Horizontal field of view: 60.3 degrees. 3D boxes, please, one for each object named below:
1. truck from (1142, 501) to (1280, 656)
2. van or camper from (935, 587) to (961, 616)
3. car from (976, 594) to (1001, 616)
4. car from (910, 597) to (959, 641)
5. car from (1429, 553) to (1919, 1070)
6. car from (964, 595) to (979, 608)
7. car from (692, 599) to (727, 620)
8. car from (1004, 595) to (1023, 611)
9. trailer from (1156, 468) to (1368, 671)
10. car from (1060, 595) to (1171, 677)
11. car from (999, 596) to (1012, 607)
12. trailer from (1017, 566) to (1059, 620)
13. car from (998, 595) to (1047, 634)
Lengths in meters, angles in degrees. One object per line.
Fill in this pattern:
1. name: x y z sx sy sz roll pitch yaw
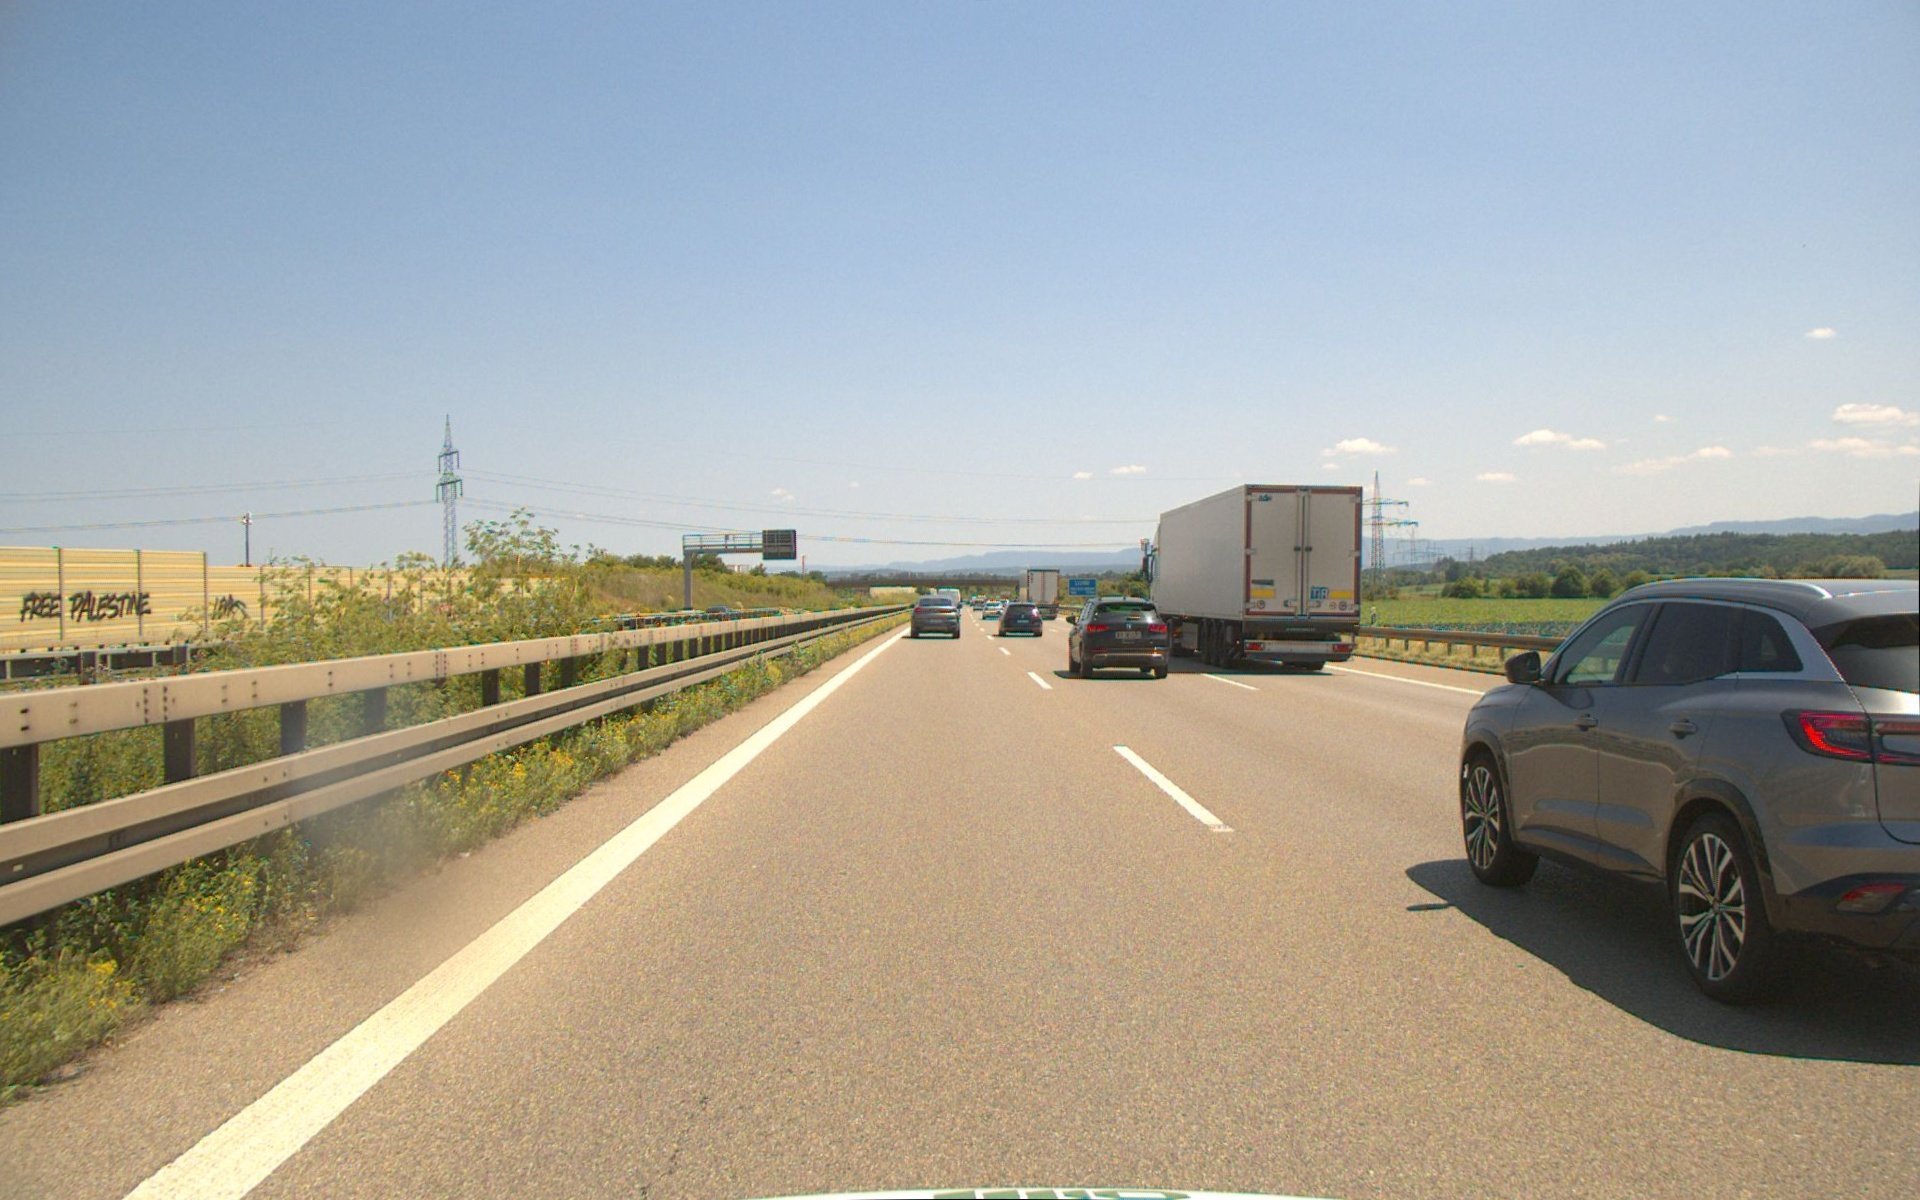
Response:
1. truck: 7.152 -0.561 48.037 2.804 4.163 6.878 1 0 -1
2. van or camper: -0.934 0.129 134.715 2.067 2.250 5.265 1 0 0
3. car: 2.268 0.428 133.796 1.953 1.712 4.000 1 0 0
4. car: -1.051 0.756 66.107 1.814 1.693 3.733 1 0 -3
5. car: 3.782 0.689 7.717 1.813 1.677 4.644 0 0 -1
6. car: 1.556 0.203 219.378 1.953 1.712 4.000 1 0 0
7. car: -17.756 0.641 117.379 1.953 1.445 3.999 0 0 -1
8. car: 5.937 0.306 184.607 1.953 1.712 4.000 1 0 0
9. trailer: 7.207 -0.617 41.827 2.809 4.294 13.292 1 0 0
10. car: 3.170 0.710 34.294 1.761 1.589 3.821 1 0 -3
11. car: 6.996 0.193 255.706 1.953 1.712 4.000 1 0 0
12. trailer: 6.431 -0.498 138.134 2.883 4.272 13.595 1 0 0
13. car: 2.660 0.623 71.524 1.894 1.602 4.934 1 0 0
